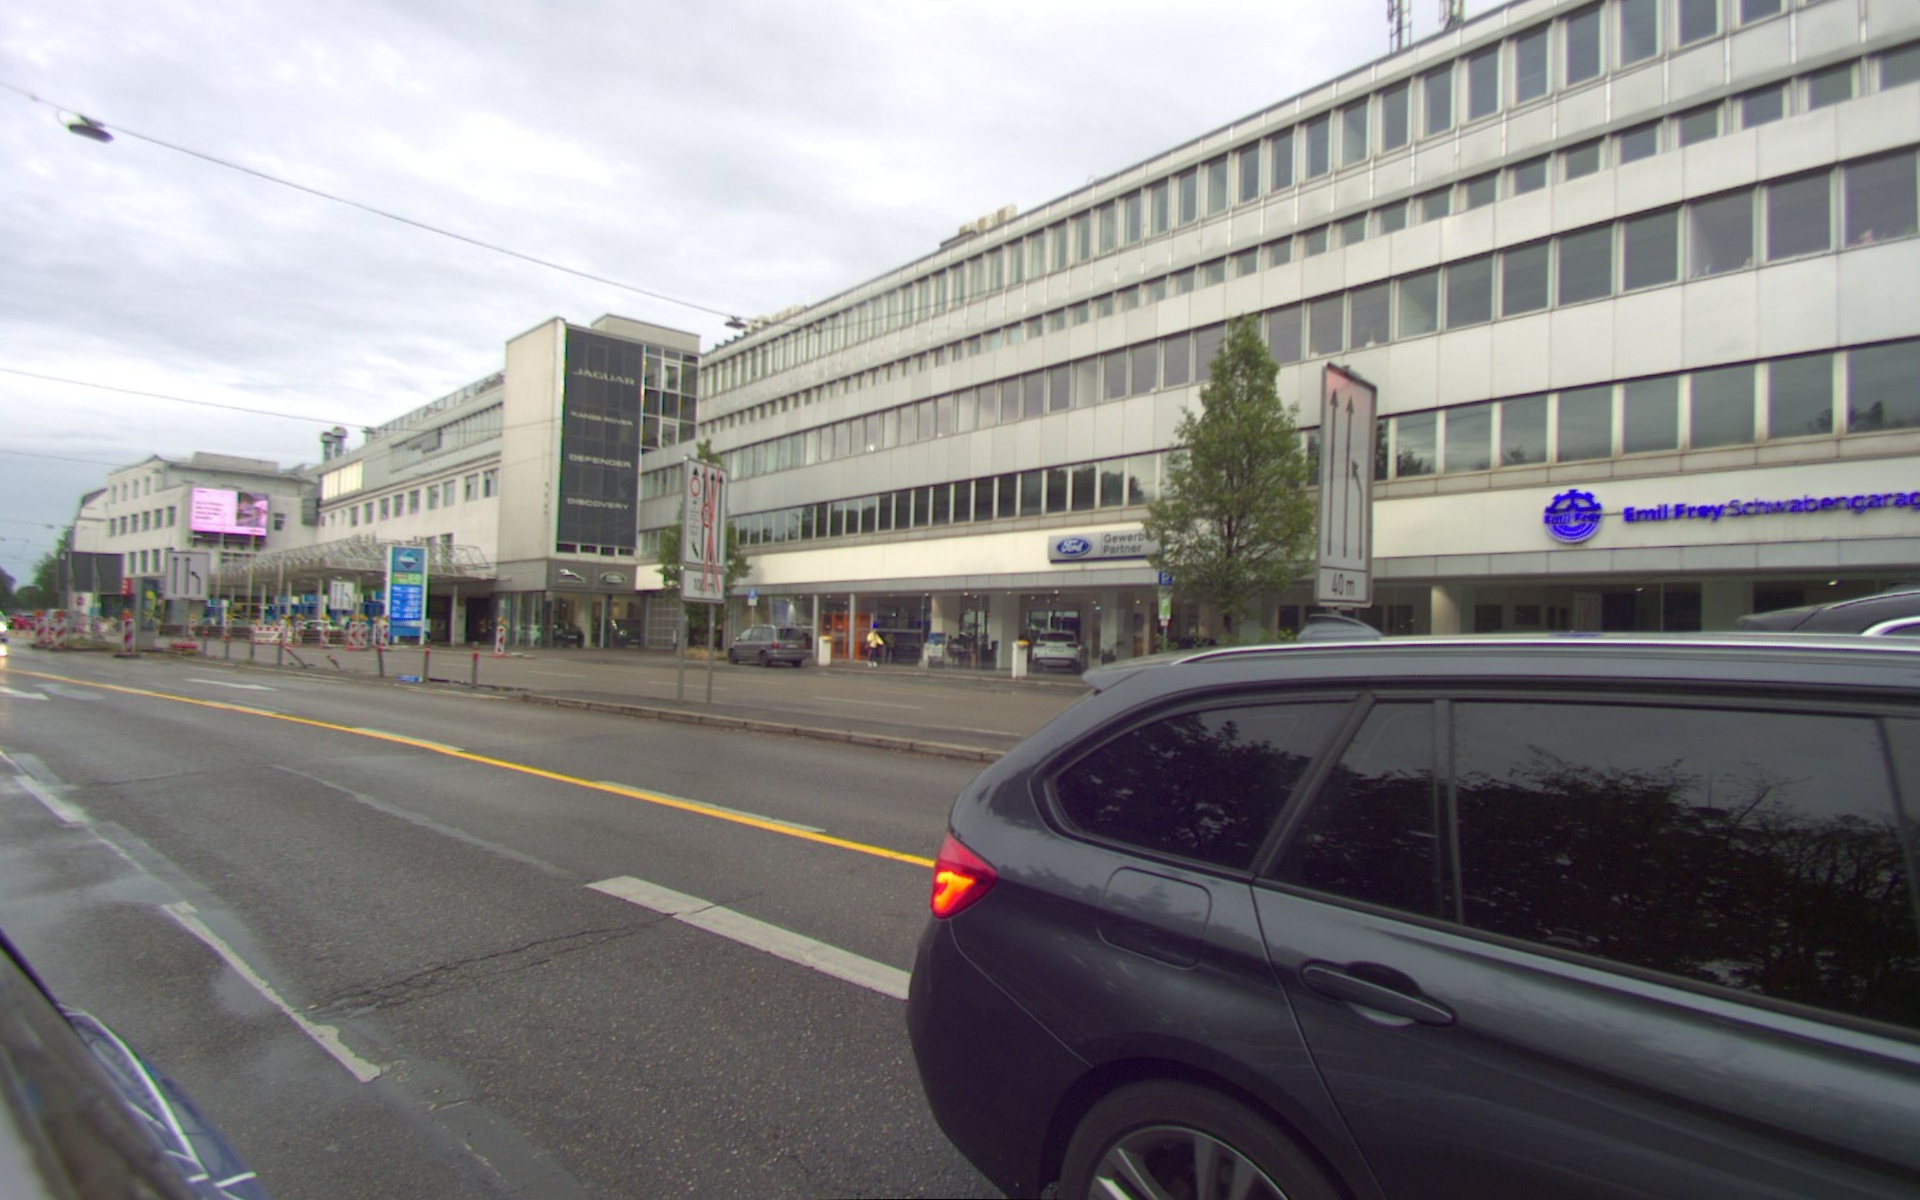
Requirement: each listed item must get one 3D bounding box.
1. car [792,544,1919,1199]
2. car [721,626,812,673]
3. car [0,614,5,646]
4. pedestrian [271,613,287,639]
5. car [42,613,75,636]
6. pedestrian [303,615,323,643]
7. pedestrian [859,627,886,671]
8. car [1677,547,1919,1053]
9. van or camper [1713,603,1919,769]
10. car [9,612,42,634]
[{"bbox_3d":[1.852,0.701,1.572,4.476,1.469,1.757,-1,-3,42],"label":"car"},{"bbox_3d":[-8.305,2.052,43.258,1.895,1.829,4.169,-1,0,-44],"label":"car"},{"bbox_3d":[-45.652,1.392,47.040,1.746,1.425,4.336,-1,0,-44],"label":"car"},{"bbox_3d":[-48.468,1.854,72.044,0.881,1.828,0.943,-1,0,-35],"label":"pedestrian"},{"bbox_3d":[-69.299,1.873,77.783,3.378,1.657,1.587,-1,0,42],"label":"car"},{"bbox_3d":[-42.333,1.876,66.205,0.882,1.828,0.942,-1,0,-45],"label":"pedestrian"},{"bbox_3d":[-3.621,2.006,41.816,0.750,1.788,0.865,-1,0,-42],"label":"pedestrian"},{"bbox_3d":[4.913,0.638,2.907,4.445,1.668,1.789,-1,0,44],"label":"car"},{"bbox_3d":[12.114,1.030,12.245,4.682,1.938,1.915,-1,-3,41],"label":"van or camper"},{"bbox_3d":[-80.308,1.956,86.983,3.727,1.777,1.775,-1,0,42],"label":"car"}]
